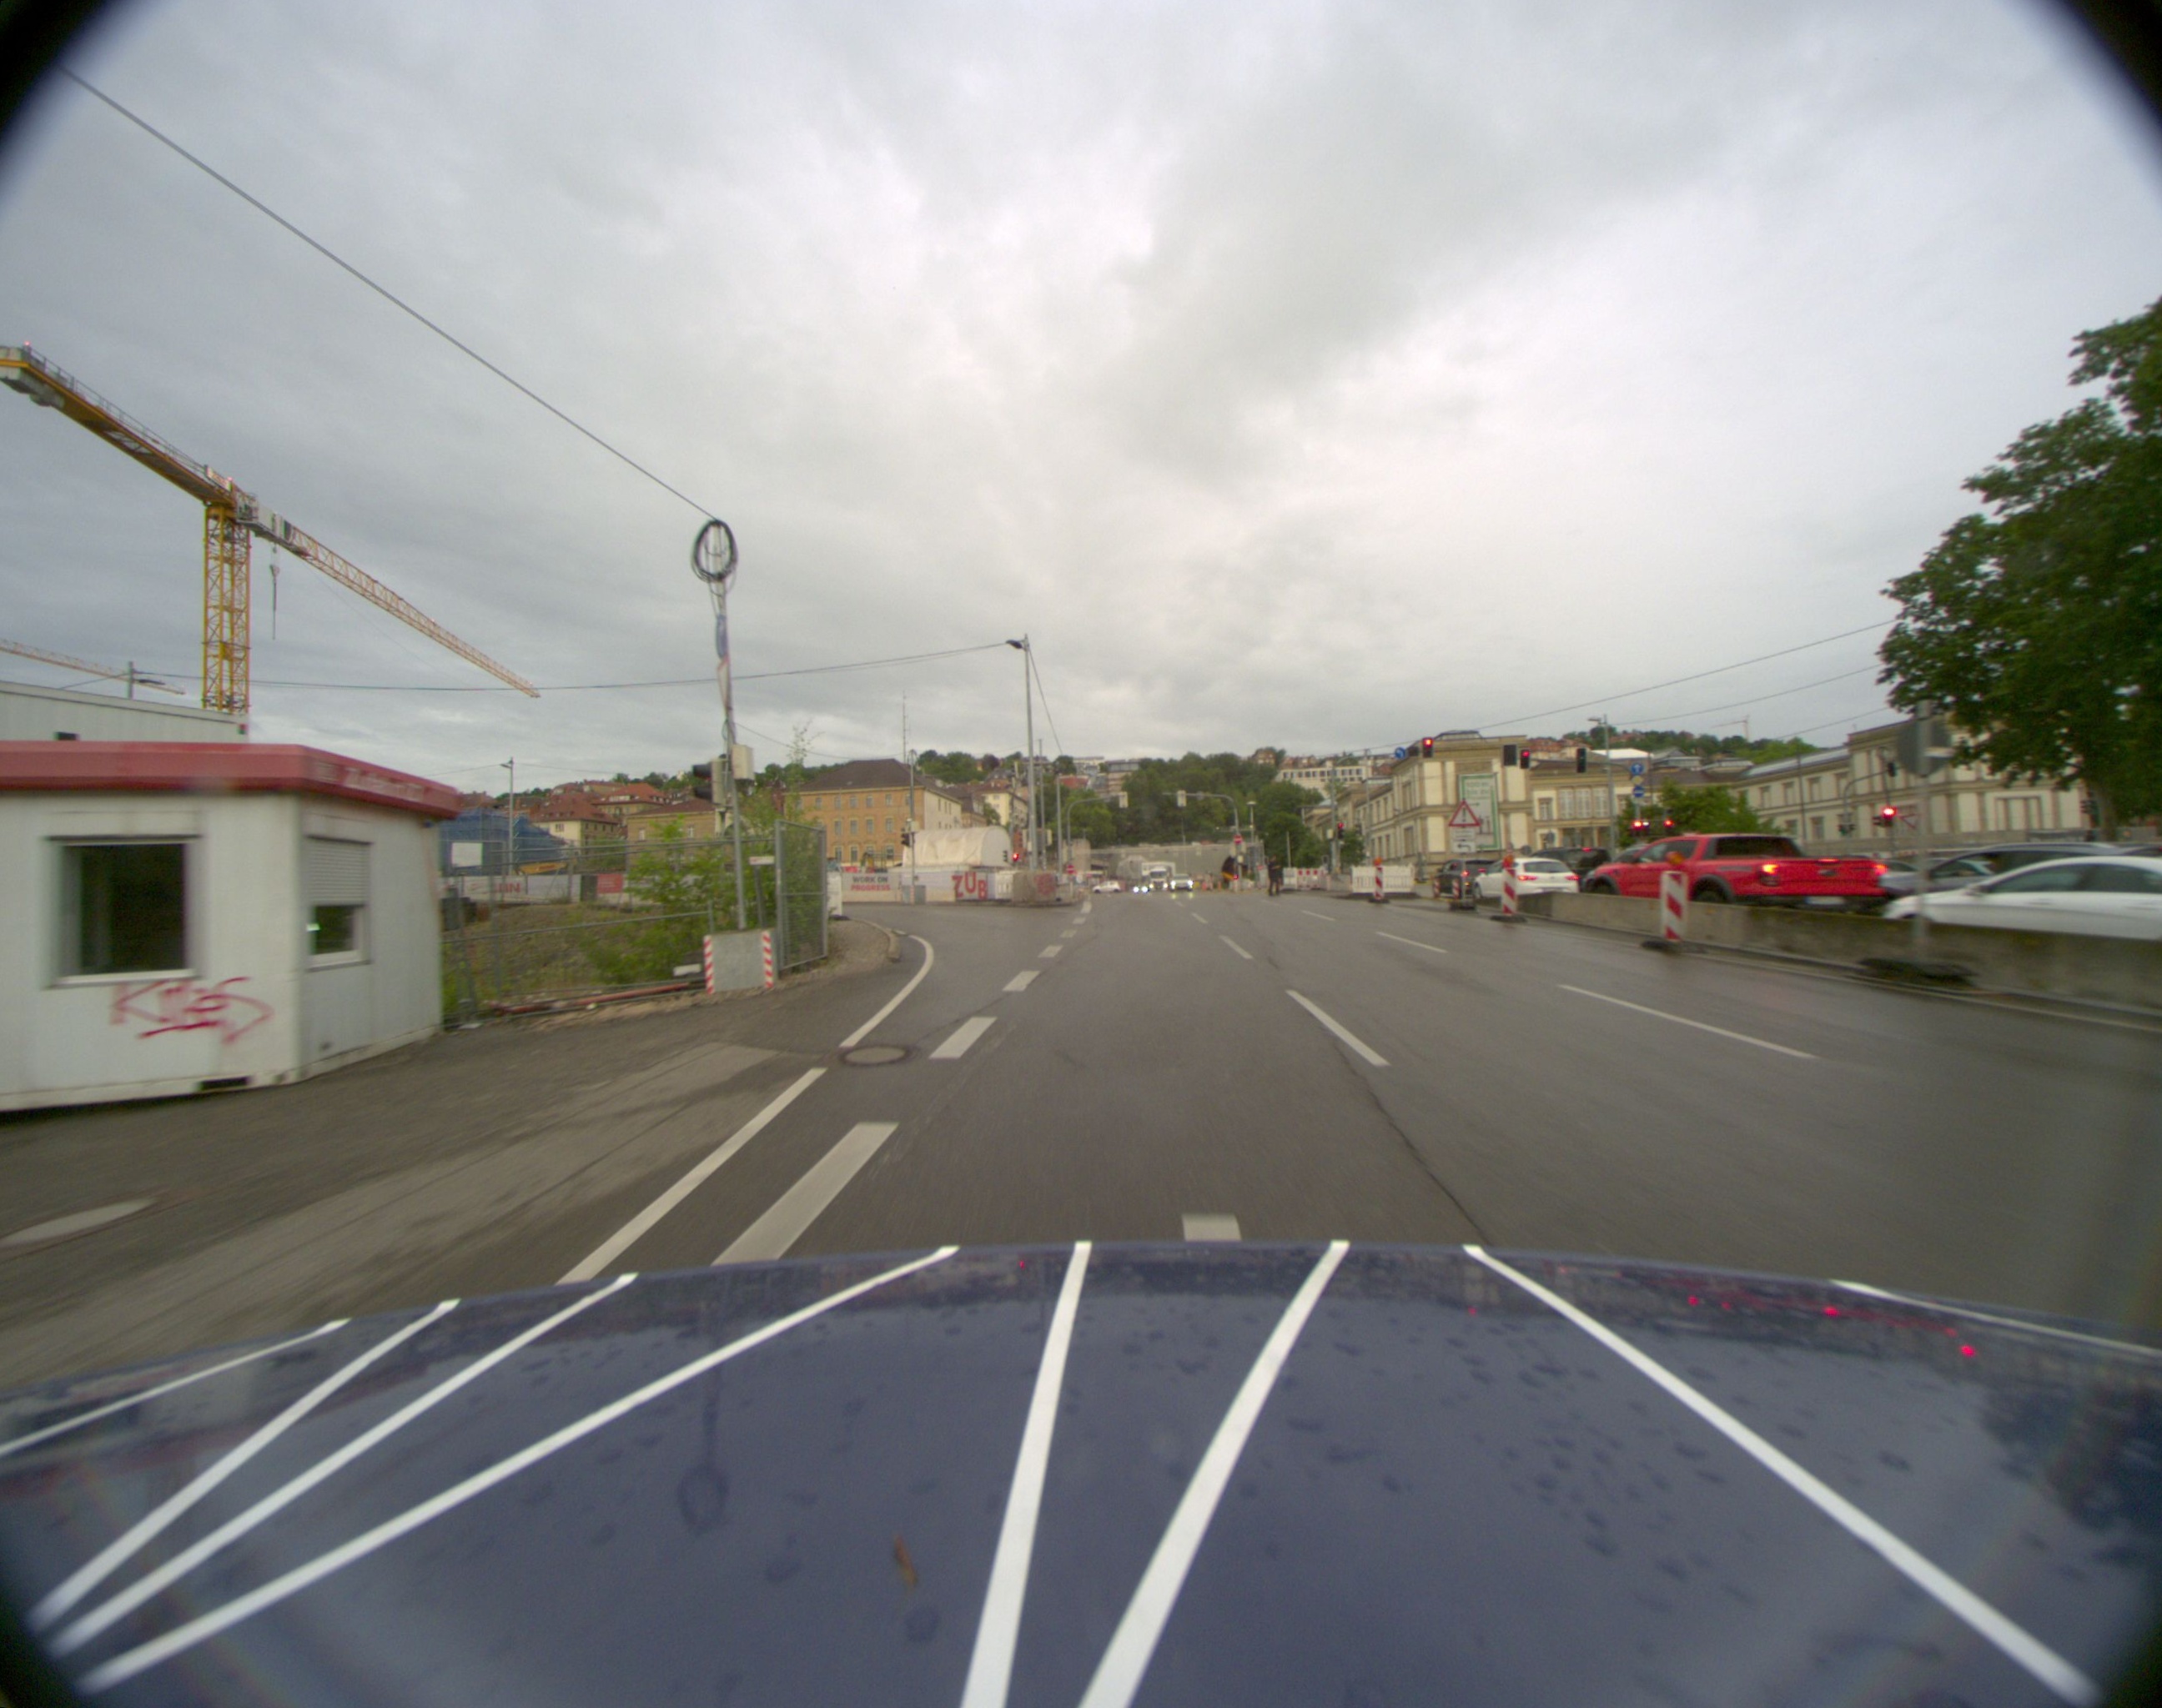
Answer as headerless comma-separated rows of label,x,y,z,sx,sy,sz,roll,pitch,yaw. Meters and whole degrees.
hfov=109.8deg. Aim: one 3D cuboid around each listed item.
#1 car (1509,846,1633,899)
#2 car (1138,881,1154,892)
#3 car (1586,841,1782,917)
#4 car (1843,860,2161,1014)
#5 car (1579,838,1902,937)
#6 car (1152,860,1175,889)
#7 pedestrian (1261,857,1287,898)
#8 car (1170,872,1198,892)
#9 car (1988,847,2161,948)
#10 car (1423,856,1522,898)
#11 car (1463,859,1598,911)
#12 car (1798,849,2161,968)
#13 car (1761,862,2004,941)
car,17.574,0.633,27.557,1.997,1.784,4.618,0,0,8
car,9.914,4.944,115.923,1.997,1.462,4.350,0,0,10
car,15.734,0.598,20.210,1.997,1.784,4.618,0,0,8
car,11.697,0.819,8.428,1.997,1.493,4.824,0,0,6
car,12.210,0.553,14.742,1.997,1.558,5.385,0,0,6
car,12.211,2.956,112.025,2.834,3.990,8.732,0,0,9
pedestrian,8.247,0.994,32.461,0.784,1.700,0.761,0,0,-15
car,8.946,2.414,66.366,1.998,1.561,4.001,0,0,2
car,18.576,0.702,12.736,1.998,1.641,4.000,0,0,1
car,14.760,0.820,28.921,1.997,1.462,4.349,0,0,8
car,13.715,0.880,23.530,1.997,1.462,4.564,0,0,8
car,15.356,0.763,12.857,1.999,1.638,4.614,0,0,-2
car,19.550,1.074,18.834,1.847,1.739,4.000,0,0,1
